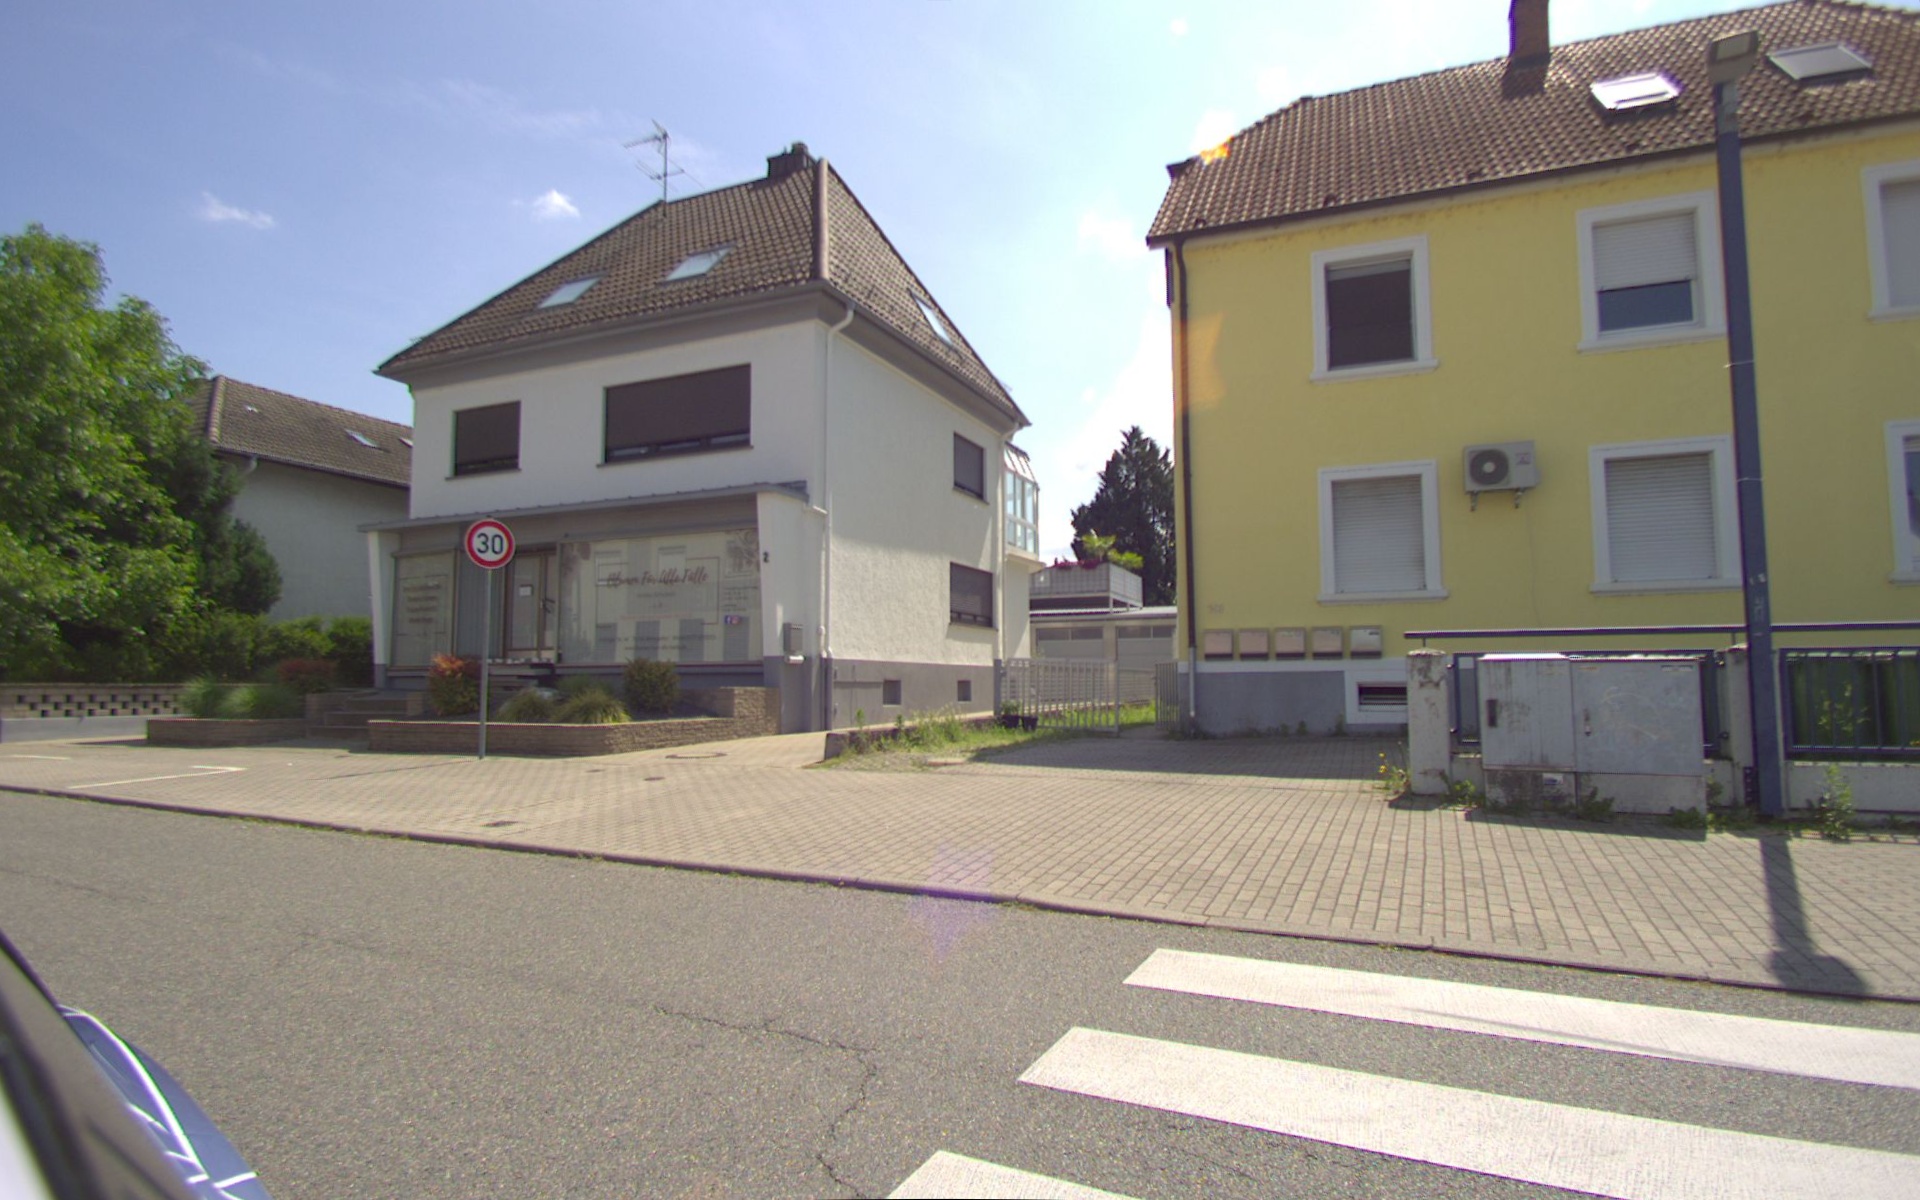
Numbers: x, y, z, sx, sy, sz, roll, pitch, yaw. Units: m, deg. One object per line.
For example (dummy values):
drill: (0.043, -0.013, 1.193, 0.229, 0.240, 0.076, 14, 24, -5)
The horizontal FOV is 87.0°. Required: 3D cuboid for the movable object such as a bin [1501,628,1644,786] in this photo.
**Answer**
movable object such as a bin: (5.133, 0.877, 8.550, 0.897, 1.235, 0.880, -3, -4, 26)
